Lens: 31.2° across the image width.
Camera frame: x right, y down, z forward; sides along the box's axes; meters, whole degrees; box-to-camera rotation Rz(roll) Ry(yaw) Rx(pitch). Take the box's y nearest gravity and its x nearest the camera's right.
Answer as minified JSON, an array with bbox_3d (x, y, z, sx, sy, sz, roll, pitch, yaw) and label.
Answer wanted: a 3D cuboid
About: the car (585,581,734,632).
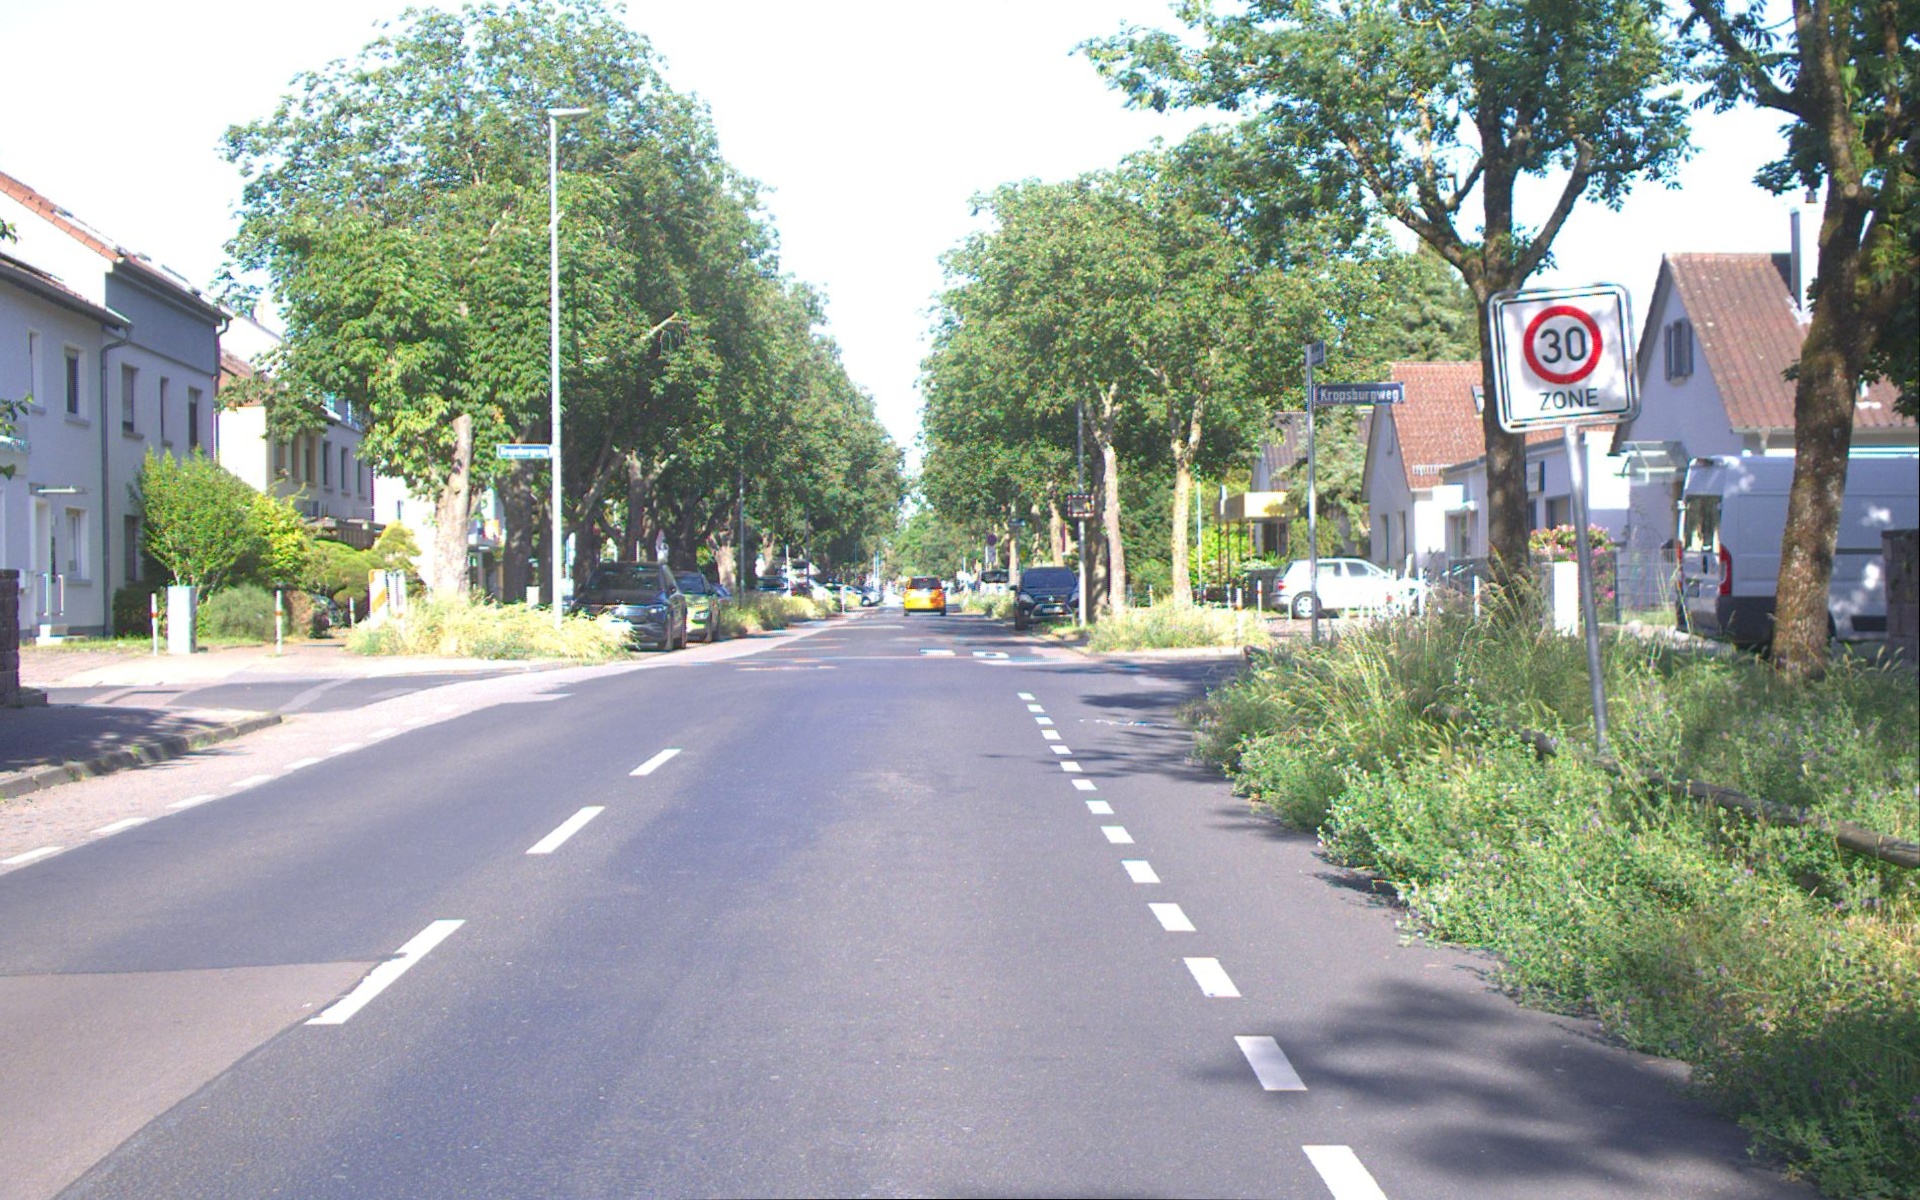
[{"bbox_3d":[-9.454,0.207,108.325,4.554,1.506,1.841,1,2,0],"label":"car"}]

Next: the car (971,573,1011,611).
[{"bbox_3d":[1.475,-0.369,164.859,1.902,1.768,4.301,1,0,0],"label":"car"}]

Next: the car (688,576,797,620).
[{"bbox_3d":[-9.230,-0.103,145.827,4.545,1.759,2.001,1,2,-5],"label":"car"}]

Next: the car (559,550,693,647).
[{"bbox_3d":[-6.194,0.008,64.250,1.953,1.721,4.875,1,-1,0],"label":"car"}]

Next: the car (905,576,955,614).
[{"bbox_3d":[-1.222,-0.199,138.564,1.888,1.474,3.888,1,0,-2],"label":"car"}]

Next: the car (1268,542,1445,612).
[{"bbox_3d":[9.602,-0.561,83.522,3.987,1.483,1.902,-3,2,-1],"label":"car"}]

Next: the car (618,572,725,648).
[{"bbox_3d":[-6.341,0.229,75.864,1.939,1.603,4.383,1,-1,1],"label":"car"}]

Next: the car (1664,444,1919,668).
[{"bbox_3d":[11.411,-0.553,40.709,5.594,2.530,2.266,-1,1,-3],"label":"car"}]

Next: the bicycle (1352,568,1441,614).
[{"bbox_3d":[10.211,-0.218,80.459,1.958,0.995,0.576,-2,2,-2],"label":"bicycle"}]

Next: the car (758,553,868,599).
[{"bbox_3d":[-7.422,-1.232,174.004,5.498,2.240,2.517,1,2,-2],"label":"car"}]

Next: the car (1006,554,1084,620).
[{"bbox_3d":[2.253,-0.326,91.673,1.853,1.620,4.469,-2,0,-1],"label":"car"}]
